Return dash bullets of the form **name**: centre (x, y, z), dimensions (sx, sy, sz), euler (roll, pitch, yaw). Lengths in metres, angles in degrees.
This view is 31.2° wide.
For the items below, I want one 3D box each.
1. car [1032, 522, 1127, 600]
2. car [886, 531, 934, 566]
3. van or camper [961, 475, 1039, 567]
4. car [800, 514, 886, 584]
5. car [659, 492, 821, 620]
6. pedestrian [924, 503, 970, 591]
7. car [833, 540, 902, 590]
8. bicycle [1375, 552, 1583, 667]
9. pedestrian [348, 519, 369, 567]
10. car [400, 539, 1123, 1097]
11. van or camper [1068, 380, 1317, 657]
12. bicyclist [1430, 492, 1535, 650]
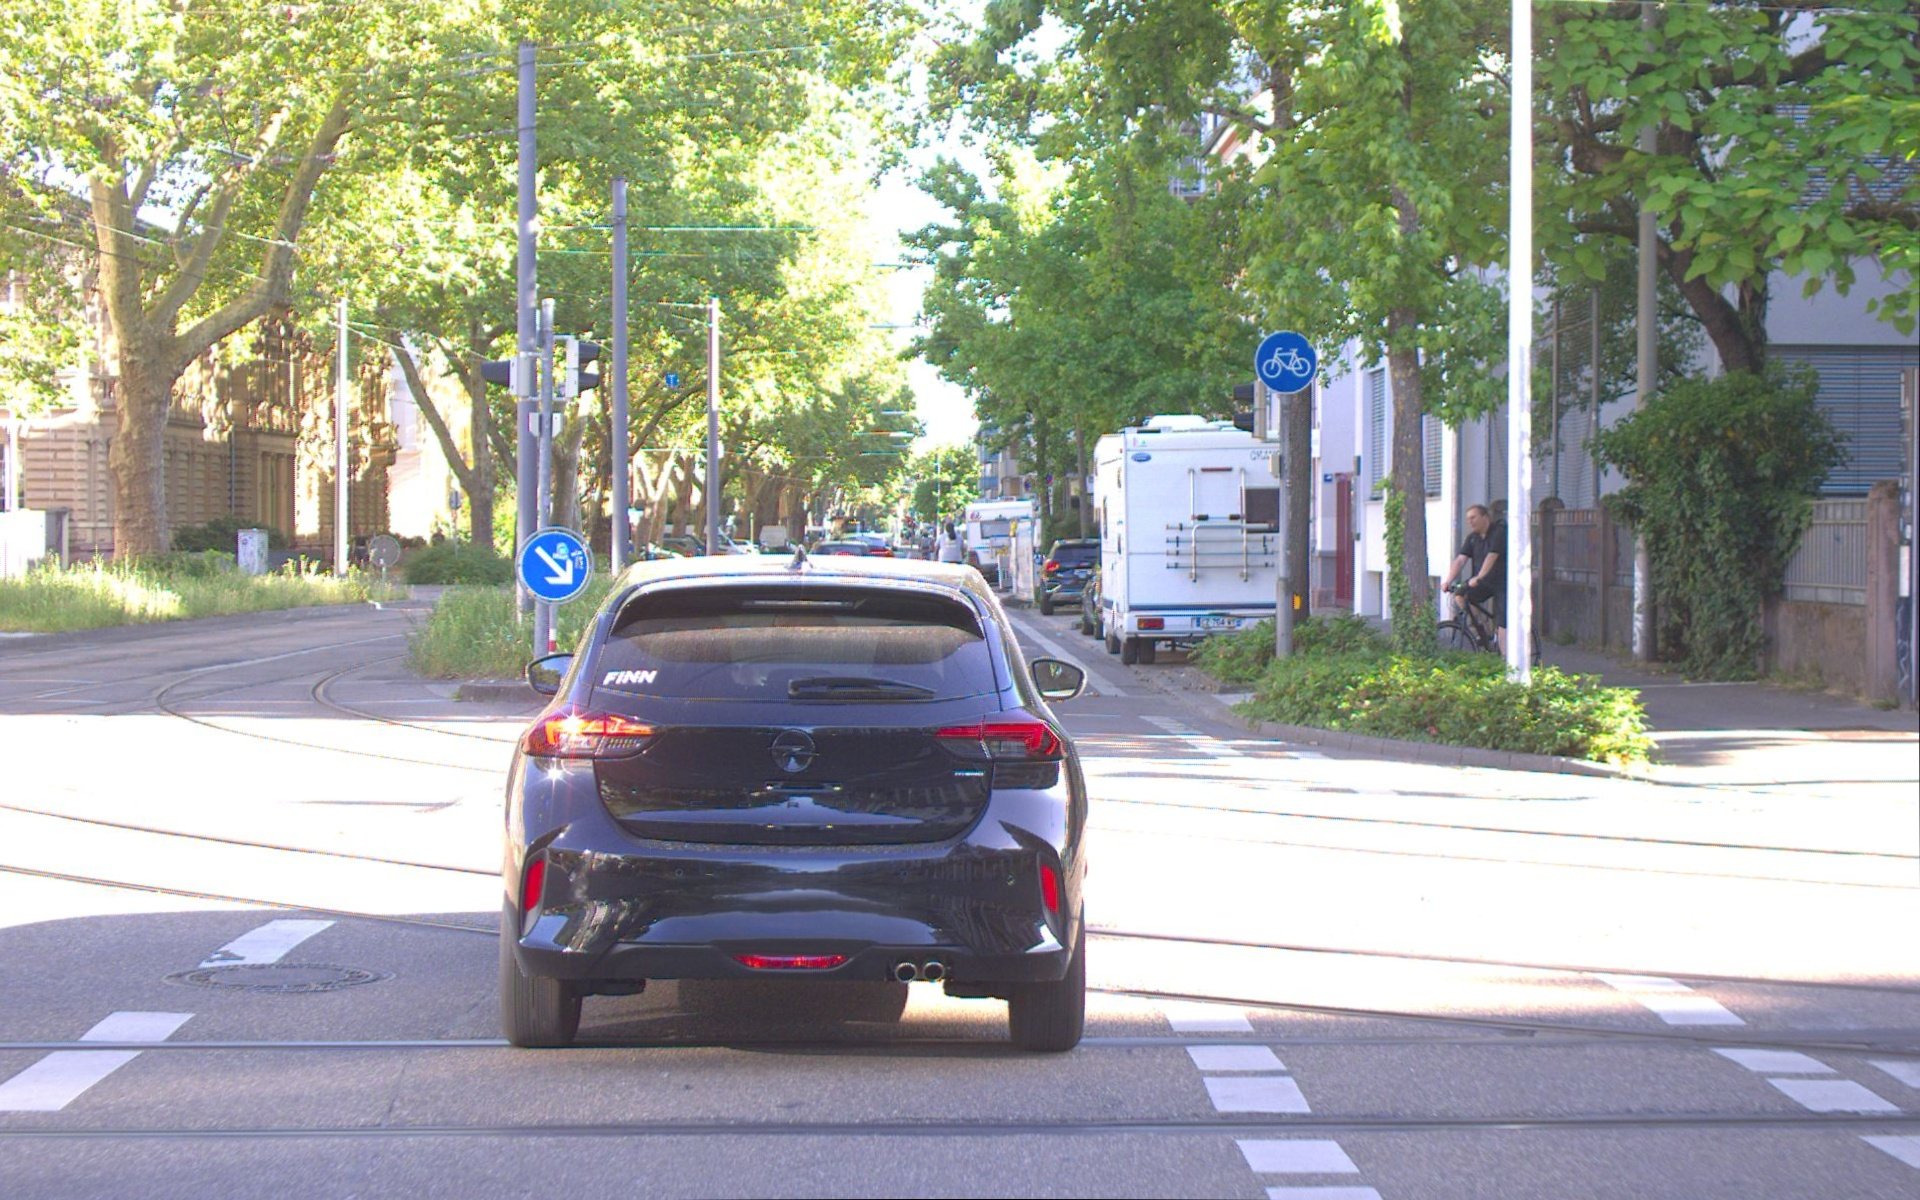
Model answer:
- **car**: centre (2.424, -0.819, 70.691), dimensions (1.790, 1.505, 3.874), euler (-2, 1, 0)
- **car**: centre (-2.103, -2.190, 146.000), dimensions (1.905, 1.420, 4.215), euler (0, 2, 1)
- **van or camper**: centre (1.364, -2.683, 117.137), dimensions (2.486, 2.983, 5.434), euler (2, 1, 1)
- **car**: centre (-2.658, -1.193, 78.821), dimensions (1.790, 1.505, 3.874), euler (-2, 1, 0)
- **car**: centre (-3.014, -0.641, 47.881), dimensions (1.993, 1.622, 4.471), euler (2, 1, -1)
- **pedestrian**: centre (-0.306, -1.241, 80.155), dimensions (1.036, 2.017, 1.212), euler (0, 1, -1)
- **car**: centre (-2.774, -1.067, 103.809), dimensions (1.905, 1.420, 4.215), euler (0, 2, 1)
- **bicycle**: centre (5.003, 0.080, 33.139), dimensions (1.944, 1.066, 0.641), euler (-1, 1, -25)
- **pedestrian**: centre (-21.907, -2.082, 125.172), dimensions (0.618, 1.727, 0.596), euler (2, 1, -1)
- **car**: centre (-0.496, 0.538, 11.172), dimensions (1.905, 1.420, 4.215), euler (0, 2, 1)
- **van or camper**: centre (2.828, -1.036, 43.829), dimensions (2.375, 3.114, 7.552), euler (-3, 1, -1)
- **bicyclist**: centre (5.034, -0.289, 33.144), dimensions (0.699, 1.504, 0.751), euler (-1, 1, -25)
